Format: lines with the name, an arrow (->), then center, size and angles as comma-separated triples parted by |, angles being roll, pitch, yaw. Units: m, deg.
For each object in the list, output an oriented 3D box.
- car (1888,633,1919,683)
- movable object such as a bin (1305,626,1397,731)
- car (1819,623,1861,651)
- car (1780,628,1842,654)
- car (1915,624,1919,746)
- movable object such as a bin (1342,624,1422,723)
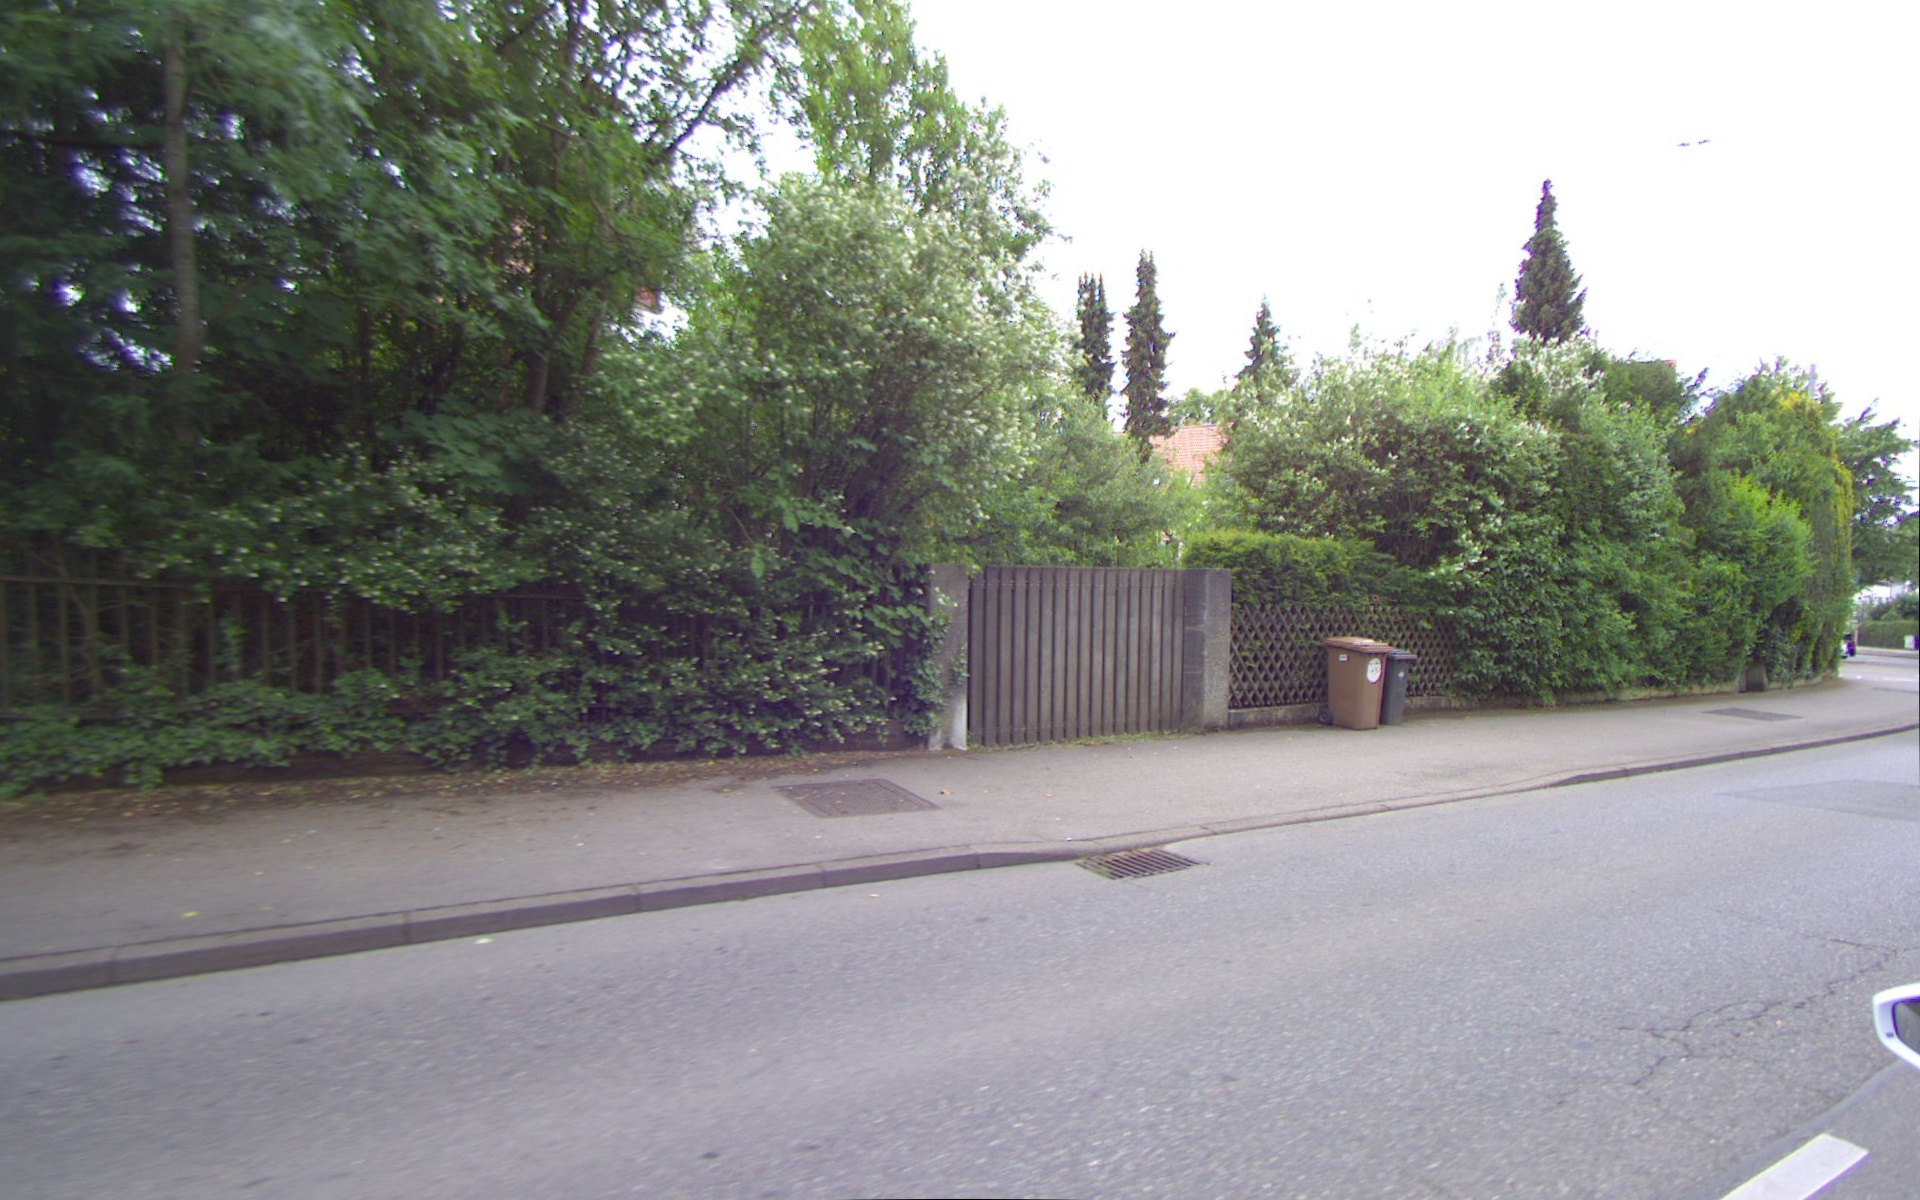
car -> 29.835, 1.754, 30.640 | 3.768, 1.473, 1.885 | 2, -2, -42
movable object such as a bin -> 4.719, 0.931, 12.143 | 0.640, 1.157, 0.736 | 1, 3, -34
car -> 59.094, 2.460, 67.502 | 1.870, 1.728, 3.982 | 3, 1, 39
car -> 51.904, 2.477, 61.343 | 1.779, 1.462, 4.195 | 1, -1, 25
car -> 15.023, 1.189, 14.036 | 3.966, 1.639, 1.977 | 2, -1, -39
movable object such as a bin -> 5.312, 0.910, 12.662 | 0.640, 1.160, 0.625 | 1, 3, -34
